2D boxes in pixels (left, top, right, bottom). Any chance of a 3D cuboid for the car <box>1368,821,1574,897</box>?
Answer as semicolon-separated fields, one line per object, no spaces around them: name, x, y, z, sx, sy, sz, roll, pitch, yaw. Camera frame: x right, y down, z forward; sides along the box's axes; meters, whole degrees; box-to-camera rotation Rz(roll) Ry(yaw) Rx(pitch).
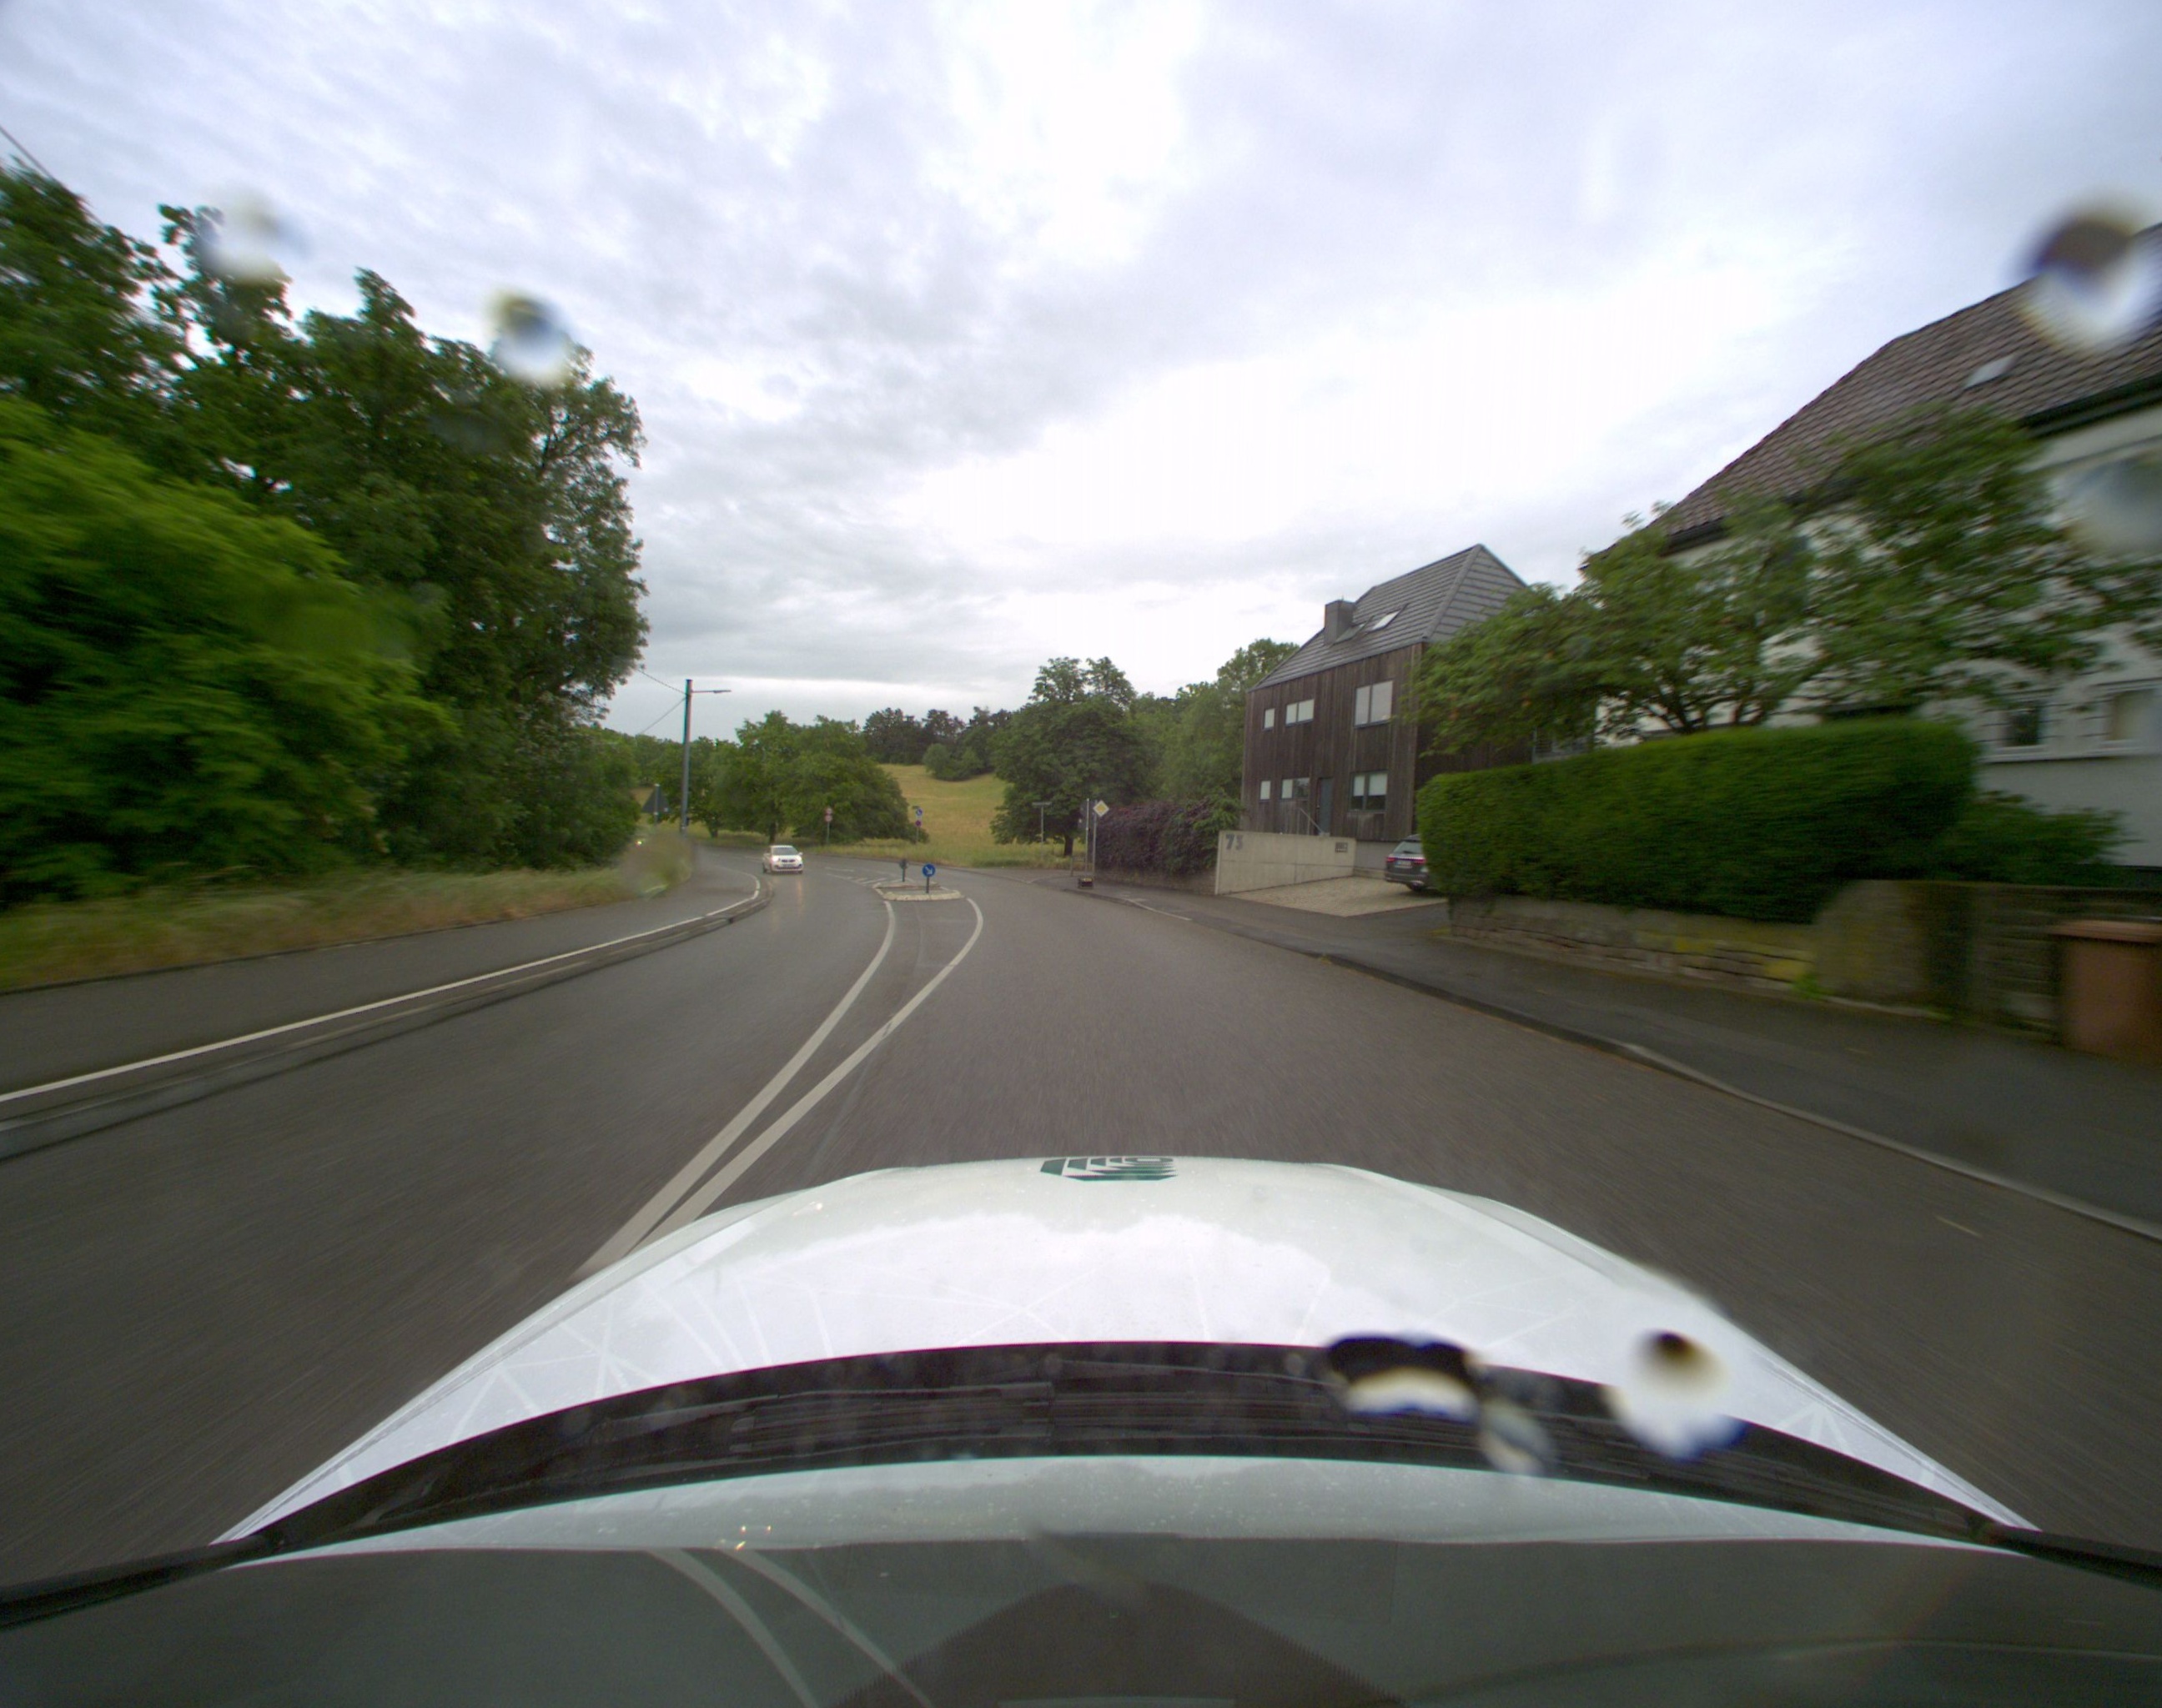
car;9.707;0.066;20.319;4.568;1.529;1.800;-4;2;-16

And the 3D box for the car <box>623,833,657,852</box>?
car;-39.823;-1.097;73.429;1.830;1.595;3.953;-1;3;-42

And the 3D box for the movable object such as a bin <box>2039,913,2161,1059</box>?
movable object such as a bin;7.043;0.881;5.582;0.418;0.920;0.462;1;0;-9

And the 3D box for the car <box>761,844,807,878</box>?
car;-15.868;0.315;43.381;1.803;1.485;3.967;-3;4;-26
